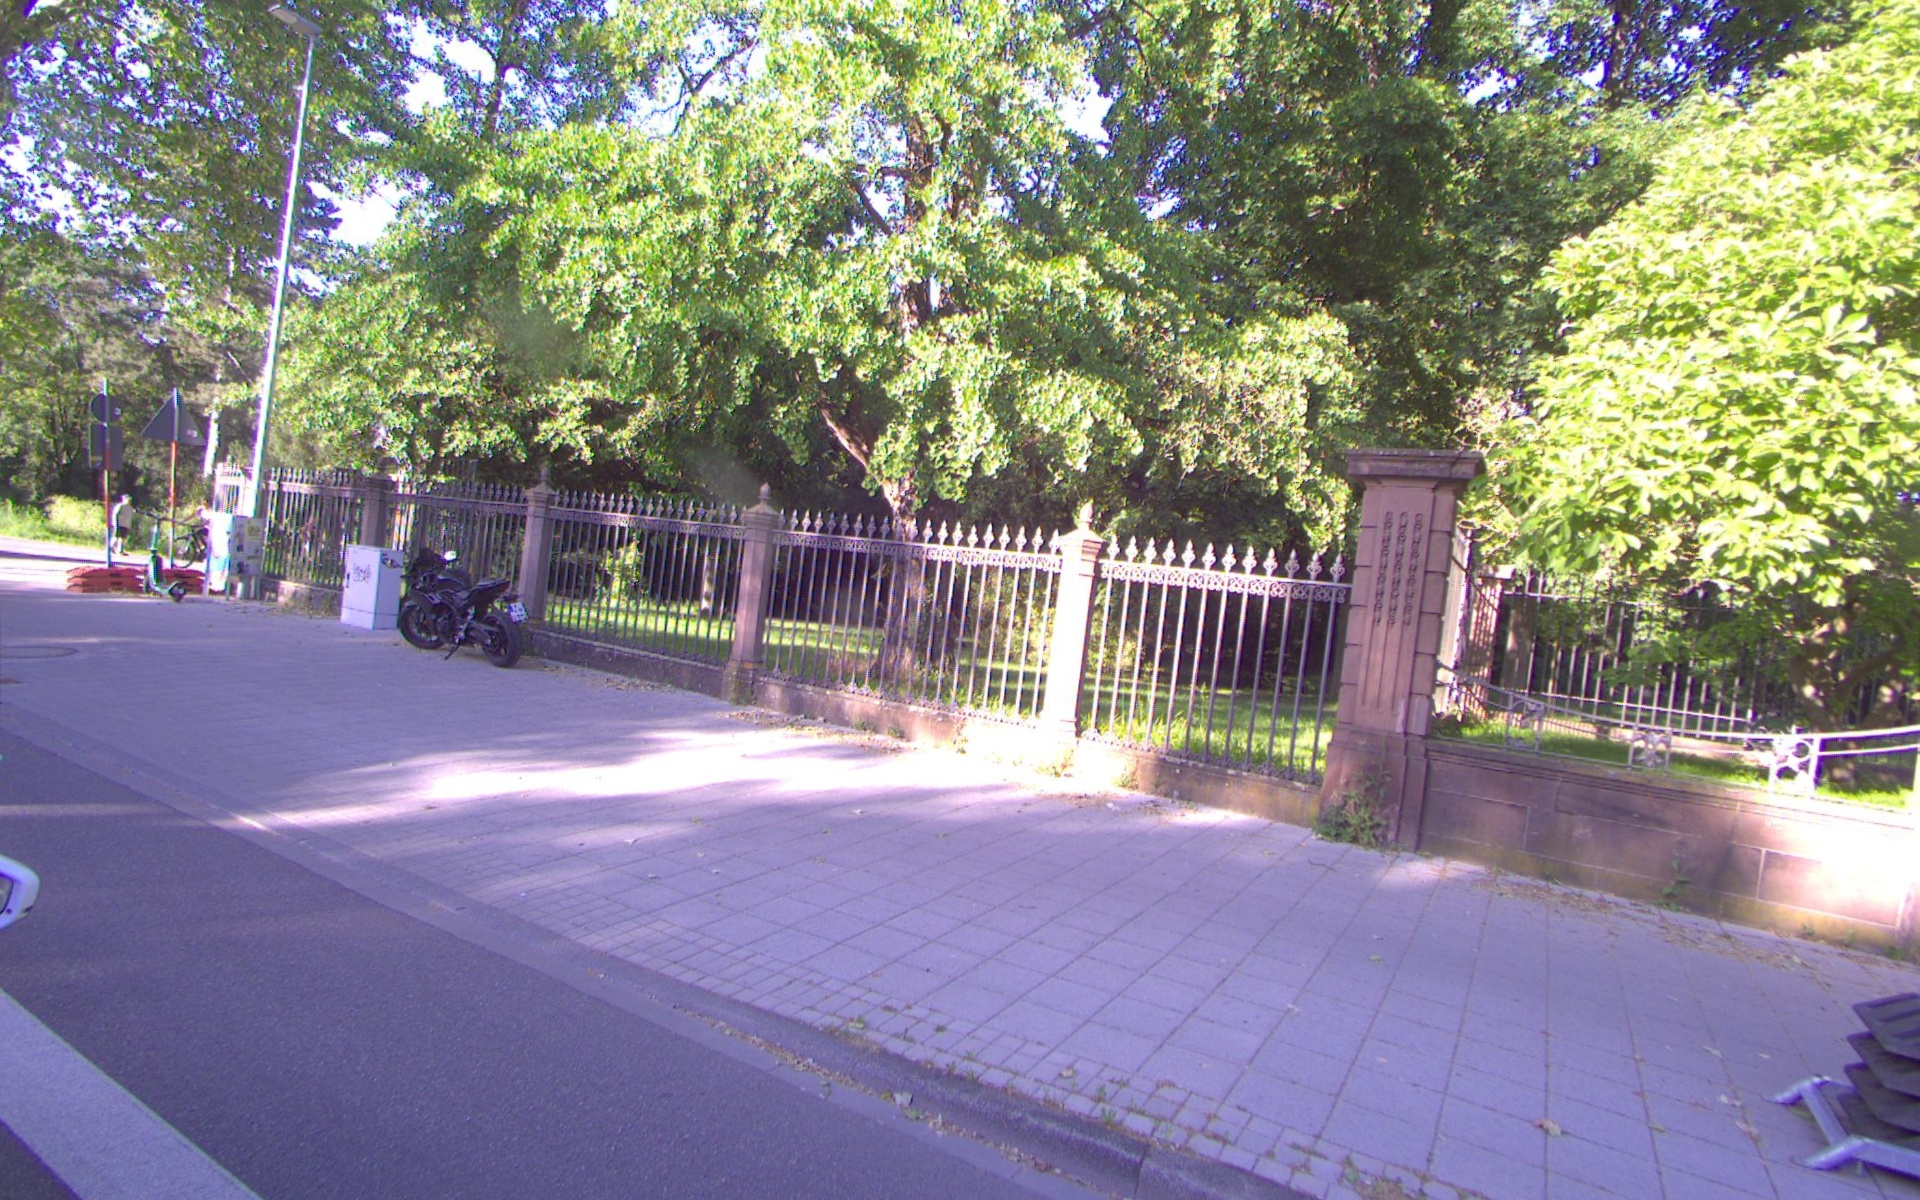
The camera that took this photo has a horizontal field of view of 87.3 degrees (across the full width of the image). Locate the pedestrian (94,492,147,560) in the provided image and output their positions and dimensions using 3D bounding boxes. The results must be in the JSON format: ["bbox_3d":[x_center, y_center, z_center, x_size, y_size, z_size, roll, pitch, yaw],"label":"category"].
[{"bbox_3d":[-20.974,-1.836,25.156,0.814,1.536,0.907,7,-1,-36],"label":"pedestrian"}]

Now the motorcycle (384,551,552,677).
[{"bbox_3d":[-5.455,0.125,11.093,2.134,1.146,0.506,7,2,30],"label":"motorcycle"}]

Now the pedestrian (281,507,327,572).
[{"bbox_3d":[-18.598,-1.712,28.520,0.823,1.702,0.685,7,0,-45],"label":"pedestrian"}]

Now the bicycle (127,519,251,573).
[{"bbox_3d":[-17.365,-1.198,22.722,0.736,0.988,2.099,7,1,19],"label":"bicycle"}]

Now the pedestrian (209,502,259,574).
[{"bbox_3d":[-18.694,-1.586,25.904,0.633,1.719,0.690,7,0,31],"label":"pedestrian"}]

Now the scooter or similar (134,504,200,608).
[{"bbox_3d":[-11.151,-0.627,14.136,1.152,1.344,0.228,7,2,30],"label":"scooter or similar"}]

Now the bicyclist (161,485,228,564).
[{"bbox_3d":[-17.297,-1.702,22.735,0.722,1.634,0.849,7,2,19],"label":"bicyclist"}]
